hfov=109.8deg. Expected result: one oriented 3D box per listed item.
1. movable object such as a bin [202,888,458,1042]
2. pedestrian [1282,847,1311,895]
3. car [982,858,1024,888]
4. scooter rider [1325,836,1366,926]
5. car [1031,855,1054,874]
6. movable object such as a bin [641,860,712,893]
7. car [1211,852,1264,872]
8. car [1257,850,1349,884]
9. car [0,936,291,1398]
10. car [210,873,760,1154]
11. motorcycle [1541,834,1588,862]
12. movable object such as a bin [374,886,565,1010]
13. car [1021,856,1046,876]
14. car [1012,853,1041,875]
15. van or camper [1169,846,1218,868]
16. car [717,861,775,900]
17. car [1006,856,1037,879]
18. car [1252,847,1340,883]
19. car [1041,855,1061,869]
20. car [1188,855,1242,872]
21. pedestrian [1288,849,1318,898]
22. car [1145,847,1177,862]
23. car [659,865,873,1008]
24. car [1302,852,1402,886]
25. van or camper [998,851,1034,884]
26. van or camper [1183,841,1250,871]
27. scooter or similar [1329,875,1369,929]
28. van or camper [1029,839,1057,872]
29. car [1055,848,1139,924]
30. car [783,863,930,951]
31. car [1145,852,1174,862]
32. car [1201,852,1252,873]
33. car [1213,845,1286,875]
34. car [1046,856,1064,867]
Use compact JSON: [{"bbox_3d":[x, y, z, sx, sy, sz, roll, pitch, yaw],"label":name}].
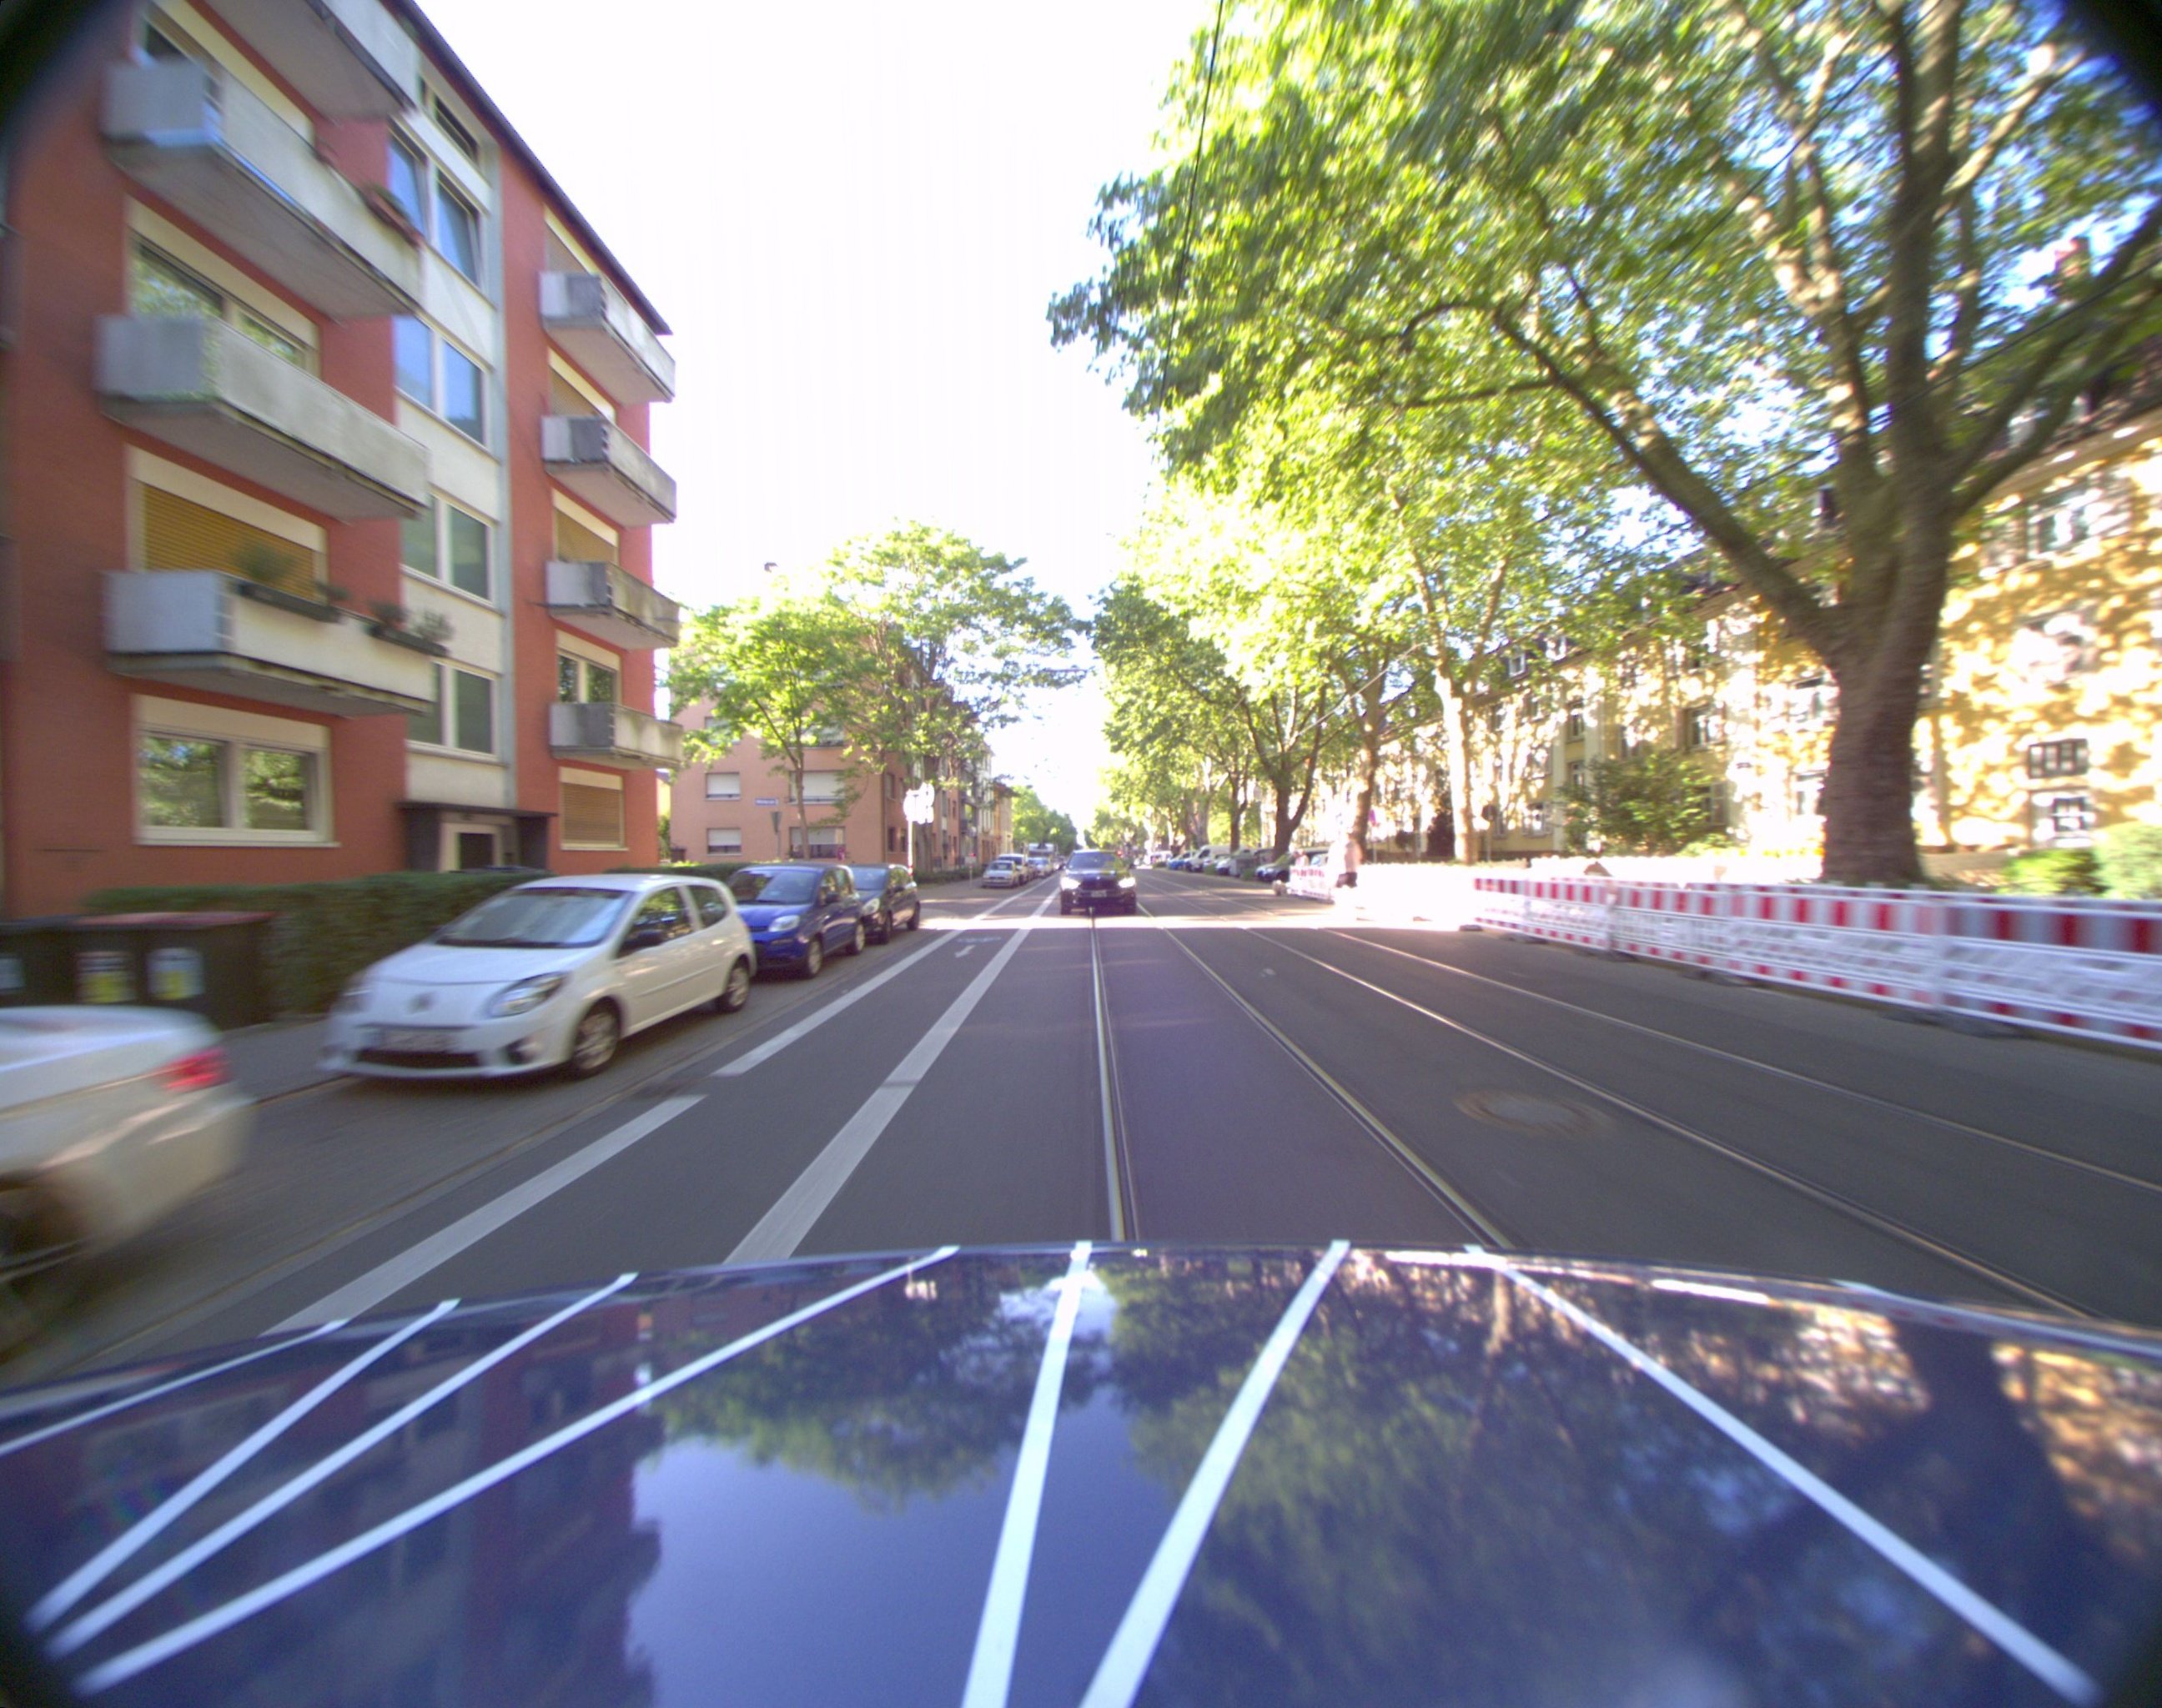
[{"bbox_3d":[-7.713,1.077,7.945,0.926,1.319,1.681,-2,1,1],"label":"movable object such as a bin"},{"bbox_3d":[8.049,0.627,28.446,0.824,1.735,0.796,-2,1,1],"label":"pedestrian"},{"bbox_3d":[-4.017,0.933,39.775,1.710,1.464,4.000,0,0,1],"label":"car"},{"bbox_3d":[5.892,0.592,16.934,0.651,1.946,0.624,-2,1,1],"label":"scooter rider"},{"bbox_3d":[-3.341,0.909,66.893,1.797,1.618,4.276,1,0,0],"label":"car"},{"bbox_3d":[-18.975,1.050,35.711,2.547,1.411,1.377,-1,2,-2],"label":"movable object such as a bin"},{"bbox_3d":[12.397,0.612,60.261,3.857,1.489,1.862,0,0,1],"label":"car"},{"bbox_3d":[11.140,0.653,38.438,4.242,1.678,1.934,0,0,8],"label":"car"},{"bbox_3d":[-4.364,1.072,1.012,1.663,1.391,4.739,1,0,0],"label":"car"},{"bbox_3d":[-4.383,1.004,6.466,1.595,1.518,3.835,1,1,1],"label":"car"},{"bbox_3d":[21.364,-0.260,33.591,1.714,1.234,0.523,-1,1,2],"label":"motorcycle"},{"bbox_3d":[-7.712,1.135,9.719,0.969,1.319,1.721,-2,1,1],"label":"movable object such as a bin"},{"bbox_3d":[-3.753,0.949,60.708,1.793,1.513,4.321,1,0,-1],"label":"car"},{"bbox_3d":[-3.994,0.709,55.937,1.772,1.563,4.336,1,0,0],"label":"car"},{"bbox_3d":[11.803,0.314,79.811,4.832,2.177,2.119,-2,0,0],"label":"van or camper"},{"bbox_3d":[-14.524,1.106,32.824,1.730,1.531,3.990,-1,0,-32],"label":"car"},{"bbox_3d":[-3.971,0.896,51.096,1.710,1.464,4.168,0,0,1],"label":"car"},{"bbox_3d":[11.479,0.582,40.732,4.210,1.747,1.739,-2,0,-1],"label":"car"},{"bbox_3d":[-3.399,0.910,86.355,1.998,1.485,4.740,1,0,1],"label":"car"},{"bbox_3d":[11.388,0.787,64.690,4.274,1.390,1.753,0,0,1],"label":"car"},{"bbox_3d":[8.042,0.698,27.588,0.824,1.735,0.796,-2,1,1],"label":"pedestrian"},{"bbox_3d":[13.221,0.081,125.628,5.019,2.383,2.028,-2,0,-1],"label":"car"},{"bbox_3d":[-4.320,1.025,11.071,1.530,1.581,3.751,-2,1,-1],"label":"car"},{"bbox_3d":[12.179,0.661,34.310,3.857,1.489,1.862,0,0,1],"label":"car"},{"bbox_3d":[-3.833,0.771,45.329,1.759,1.853,4.830,0,0,0],"label":"van or camper"},{"bbox_3d":[11.946,0.160,67.254,5.403,2.501,2.445,-2,0,0],"label":"van or camper"},{"bbox_3d":[5.946,1.045,16.898,0.408,1.077,1.338,-2,1,1],"label":"scooter or similar"},{"bbox_3d":[-3.609,0.152,73.225,2.468,3.046,6.267,1,0,-1],"label":"van or camper"},{"bbox_3d":[0.397,0.757,20.419,1.924,1.741,4.806,-2,0,0],"label":"car"},{"bbox_3d":[-4.312,0.957,15.211,1.738,1.453,3.916,1,0,0],"label":"car"},{"bbox_3d":[12.218,0.466,118.291,4.171,1.506,1.925,-2,0,-1],"label":"car"},{"bbox_3d":[11.974,0.678,62.493,3.857,1.653,1.862,0,0,1],"label":"car"},{"bbox_3d":[11.924,0.422,53.890,4.669,1.934,1.961,-2,0,-2],"label":"car"},{"bbox_3d":[-3.219,0.907,95.339,1.998,1.372,4.739,1,0,0],"label":"car"}]
